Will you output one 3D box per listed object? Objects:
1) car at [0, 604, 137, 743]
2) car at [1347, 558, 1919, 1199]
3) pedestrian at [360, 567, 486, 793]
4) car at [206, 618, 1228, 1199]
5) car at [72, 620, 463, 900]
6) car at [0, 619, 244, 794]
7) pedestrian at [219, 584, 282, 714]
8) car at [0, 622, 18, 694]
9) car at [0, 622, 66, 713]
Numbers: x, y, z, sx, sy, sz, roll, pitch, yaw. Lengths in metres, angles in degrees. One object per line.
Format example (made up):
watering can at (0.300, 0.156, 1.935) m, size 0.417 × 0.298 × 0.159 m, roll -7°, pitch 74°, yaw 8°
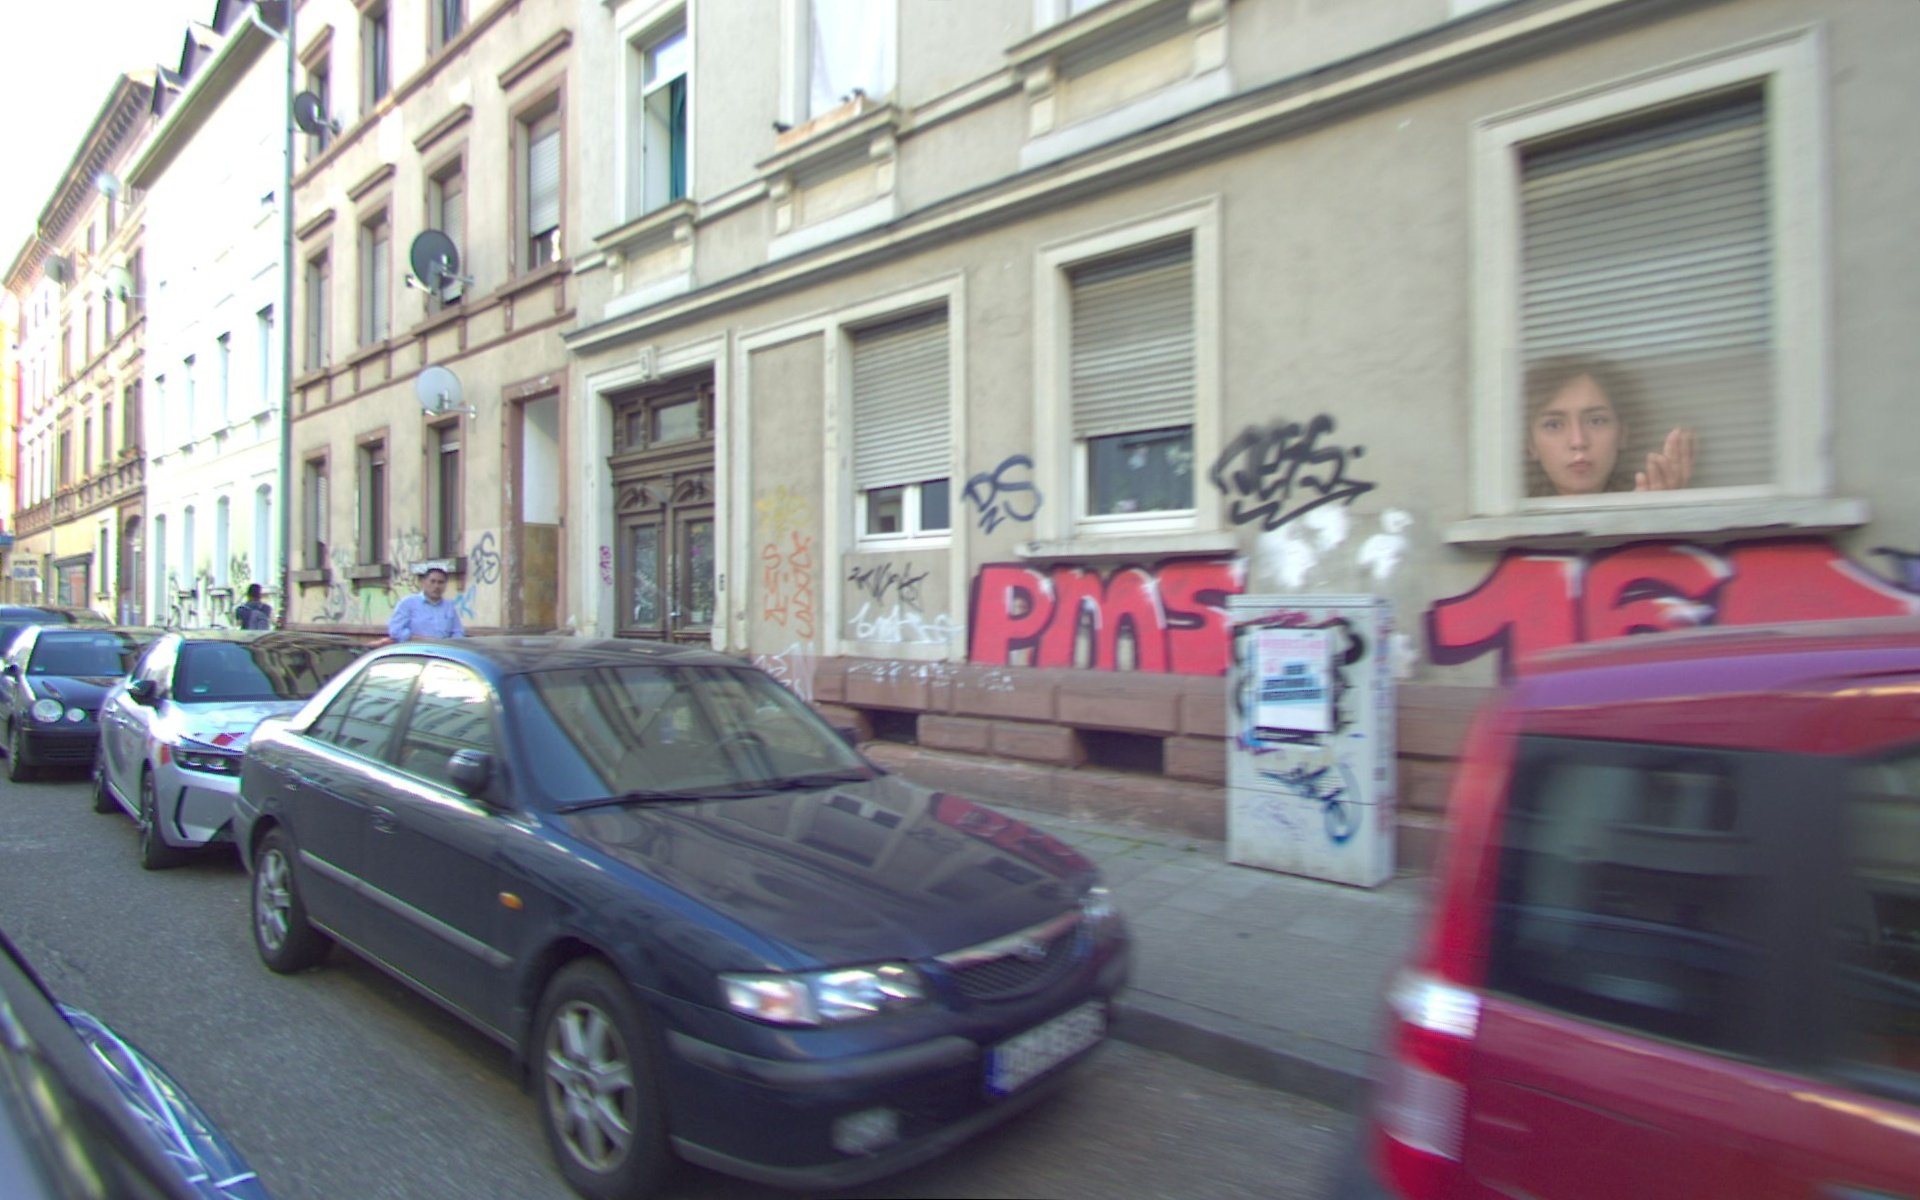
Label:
car at (-12.868, 0.937, 14.010) m, size 3.858 × 1.696 × 1.661 m, roll -1°, pitch -2°, yaw 41°
car at (2.413, 0.704, 0.778) m, size 3.610 × 1.504 × 1.661 m, roll -1°, pitch -2°, yaw 41°
pedestrian at (-4.639, 0.652, 8.760) m, size 0.594 × 1.844 × 0.780 m, roll -1°, pitch 0°, yaw 41°
car at (-1.335, 0.811, 3.912) m, size 4.311 × 1.474 × 1.661 m, roll -1°, pitch -2°, yaw 41°
car at (-5.150, 0.884, 7.310) m, size 1.660 × 1.474 × 3.862 m, roll 1°, pitch -2°, yaw -45°
car at (-8.919, 0.935, 10.425) m, size 3.858 × 1.474 × 1.661 m, roll -1°, pitch -2°, yaw 41°
pedestrian at (-10.390, 0.695, 14.816) m, size 0.594 × 1.844 × 0.618 m, roll -1°, pitch 0°, yaw 42°
car at (-20.779, 1.165, 20.804) m, size 3.858 × 1.426 × 1.661 m, roll -1°, pitch -2°, yaw 41°
car at (-17.048, 1.120, 17.672) m, size 3.858 × 1.468 × 1.661 m, roll -1°, pitch -2°, yaw 41°
